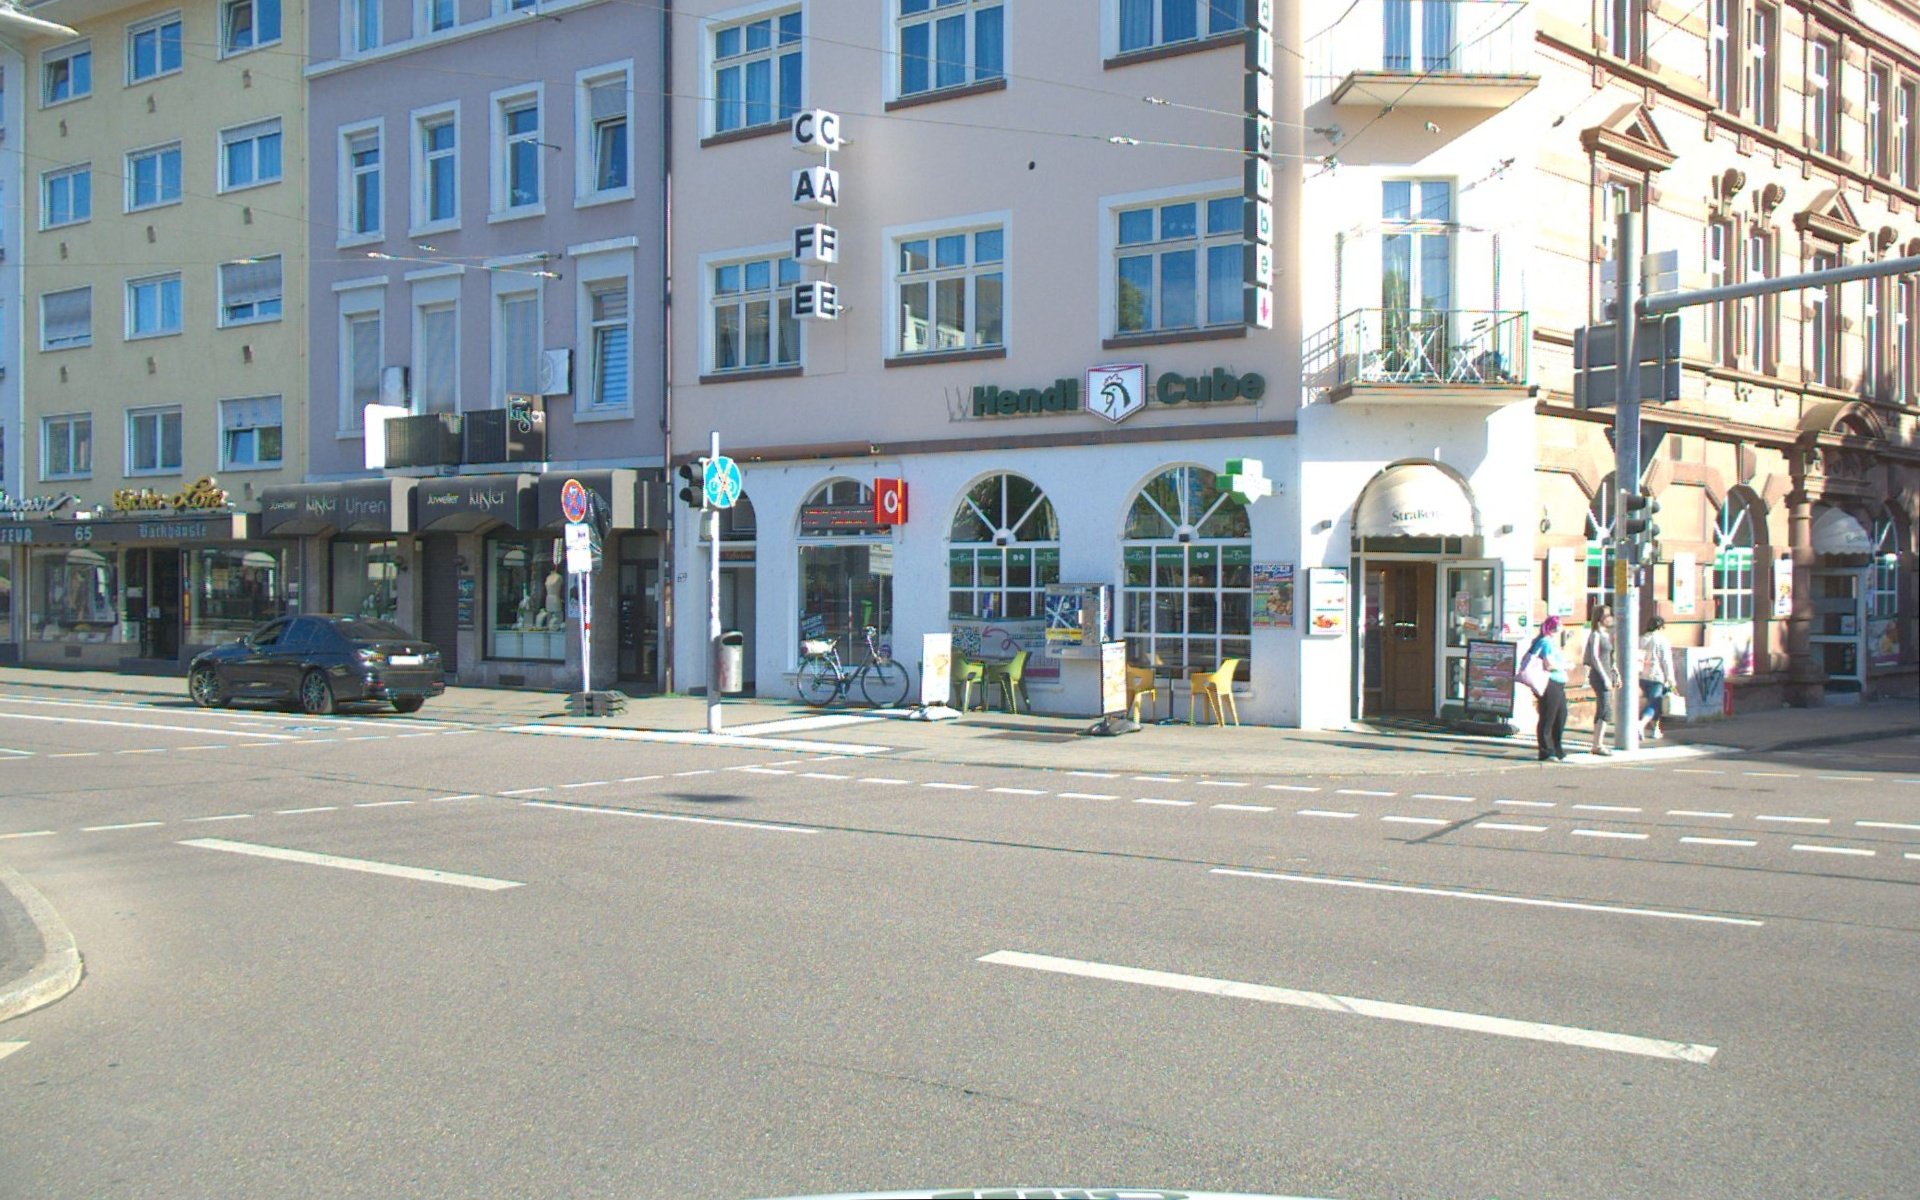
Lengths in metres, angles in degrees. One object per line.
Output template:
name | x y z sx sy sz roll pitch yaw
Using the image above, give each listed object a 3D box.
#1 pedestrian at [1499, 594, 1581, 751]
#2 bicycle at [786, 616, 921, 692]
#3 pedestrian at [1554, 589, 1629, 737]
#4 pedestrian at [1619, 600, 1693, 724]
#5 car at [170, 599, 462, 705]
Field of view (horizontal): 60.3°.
pedestrian | 6.369 0.779 18.156 0.574 1.670 0.666 -1 1 -43
bicycle | -1.563 0.788 24.315 1.902 1.086 0.584 0 1 7
pedestrian | 7.376 0.720 19.313 0.548 1.670 0.623 -1 2 -44
pedestrian | 8.959 0.776 21.296 0.655 1.550 0.684 -1 1 -43
car | -9.884 0.737 25.277 4.554 1.465 1.741 0 0 31
